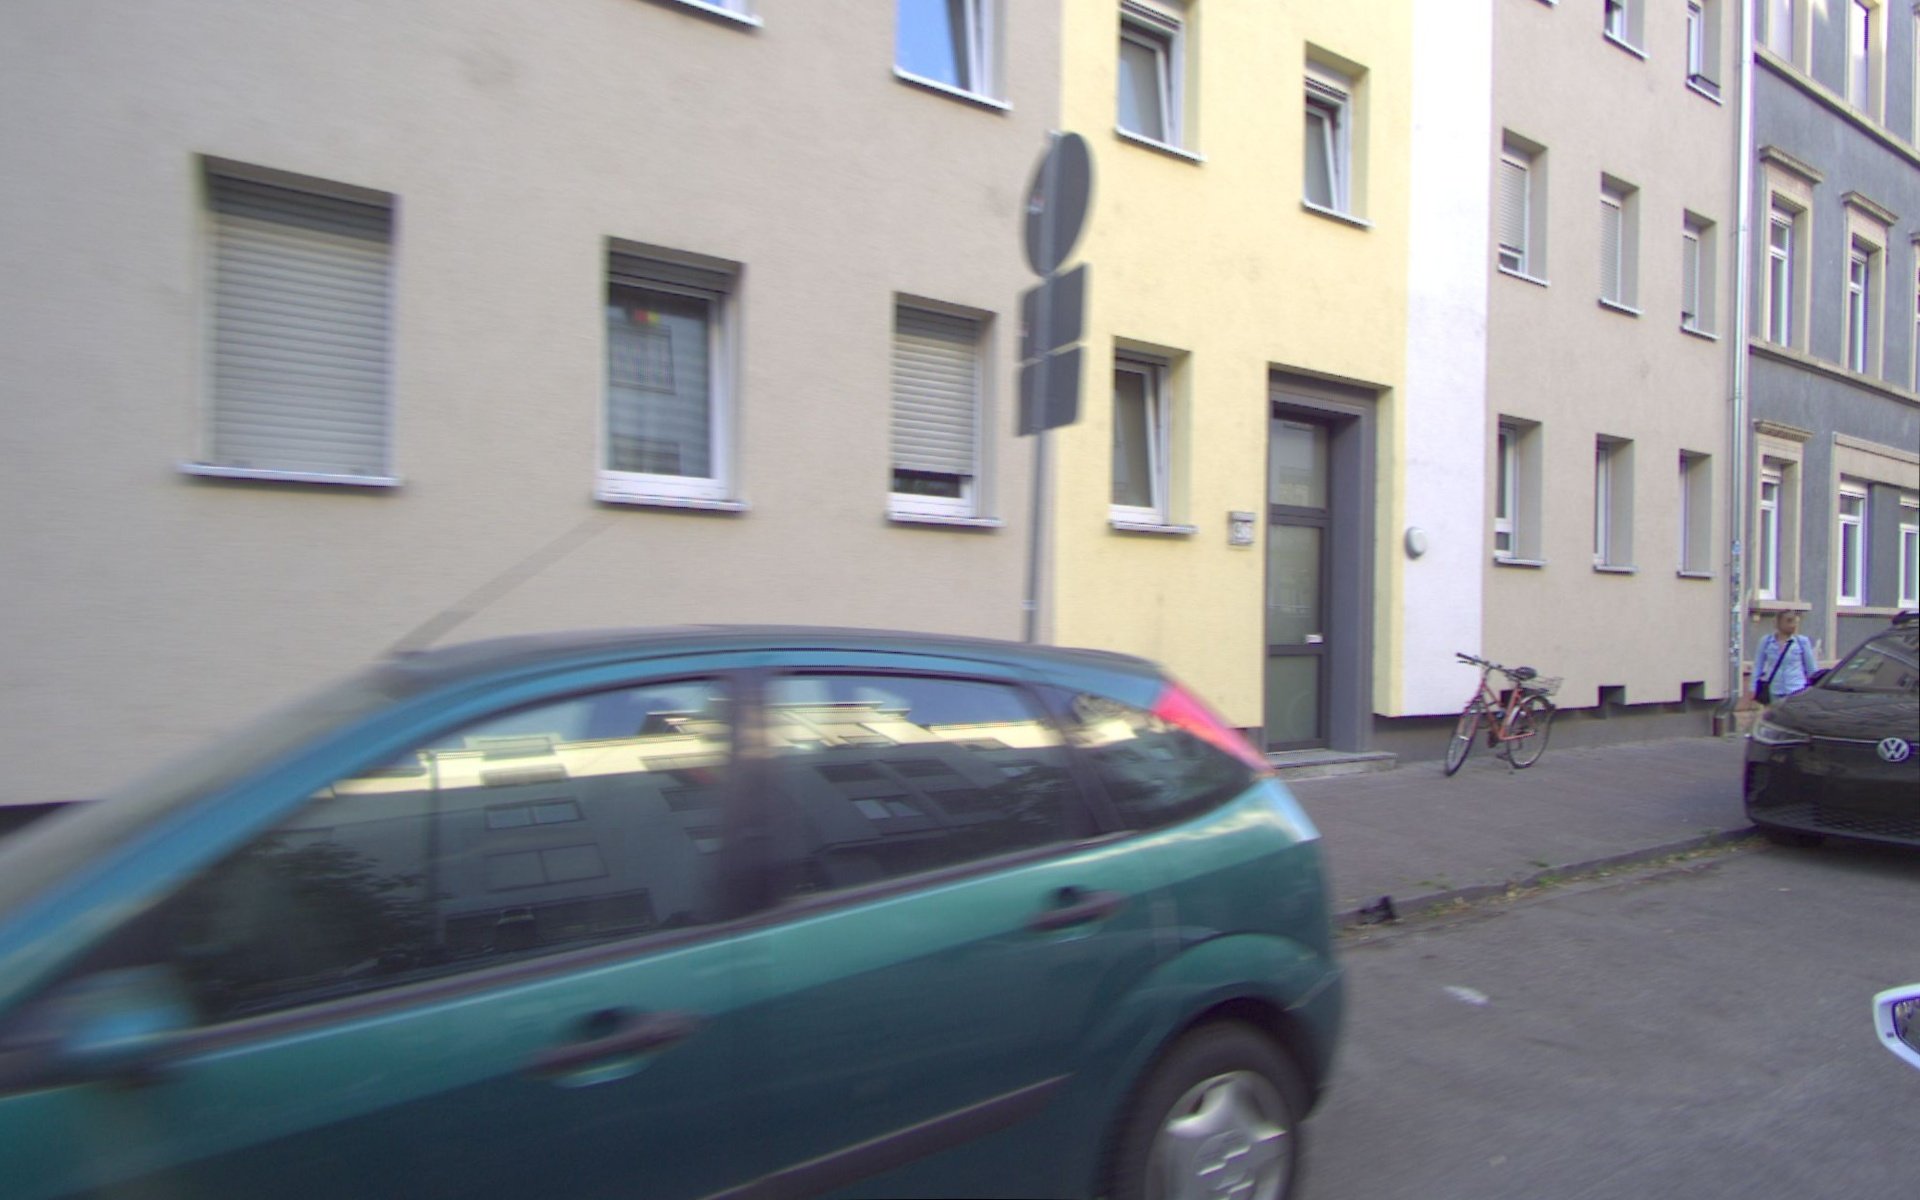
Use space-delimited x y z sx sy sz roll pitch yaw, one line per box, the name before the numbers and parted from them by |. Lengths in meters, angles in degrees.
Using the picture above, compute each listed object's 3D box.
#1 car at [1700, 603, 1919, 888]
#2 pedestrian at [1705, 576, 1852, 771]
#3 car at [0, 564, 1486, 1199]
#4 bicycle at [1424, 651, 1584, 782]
car | 7.474 0.893 7.246 4.418 1.685 1.911 1 -2 -32
pedestrian | 8.104 0.705 9.948 1.079 1.814 0.785 1 -2 -30
car | -0.942 0.754 2.245 4.370 1.508 1.770 1 -2 -31
bicycle | 5.044 1.032 9.273 1.731 1.088 0.448 1 1 -31
